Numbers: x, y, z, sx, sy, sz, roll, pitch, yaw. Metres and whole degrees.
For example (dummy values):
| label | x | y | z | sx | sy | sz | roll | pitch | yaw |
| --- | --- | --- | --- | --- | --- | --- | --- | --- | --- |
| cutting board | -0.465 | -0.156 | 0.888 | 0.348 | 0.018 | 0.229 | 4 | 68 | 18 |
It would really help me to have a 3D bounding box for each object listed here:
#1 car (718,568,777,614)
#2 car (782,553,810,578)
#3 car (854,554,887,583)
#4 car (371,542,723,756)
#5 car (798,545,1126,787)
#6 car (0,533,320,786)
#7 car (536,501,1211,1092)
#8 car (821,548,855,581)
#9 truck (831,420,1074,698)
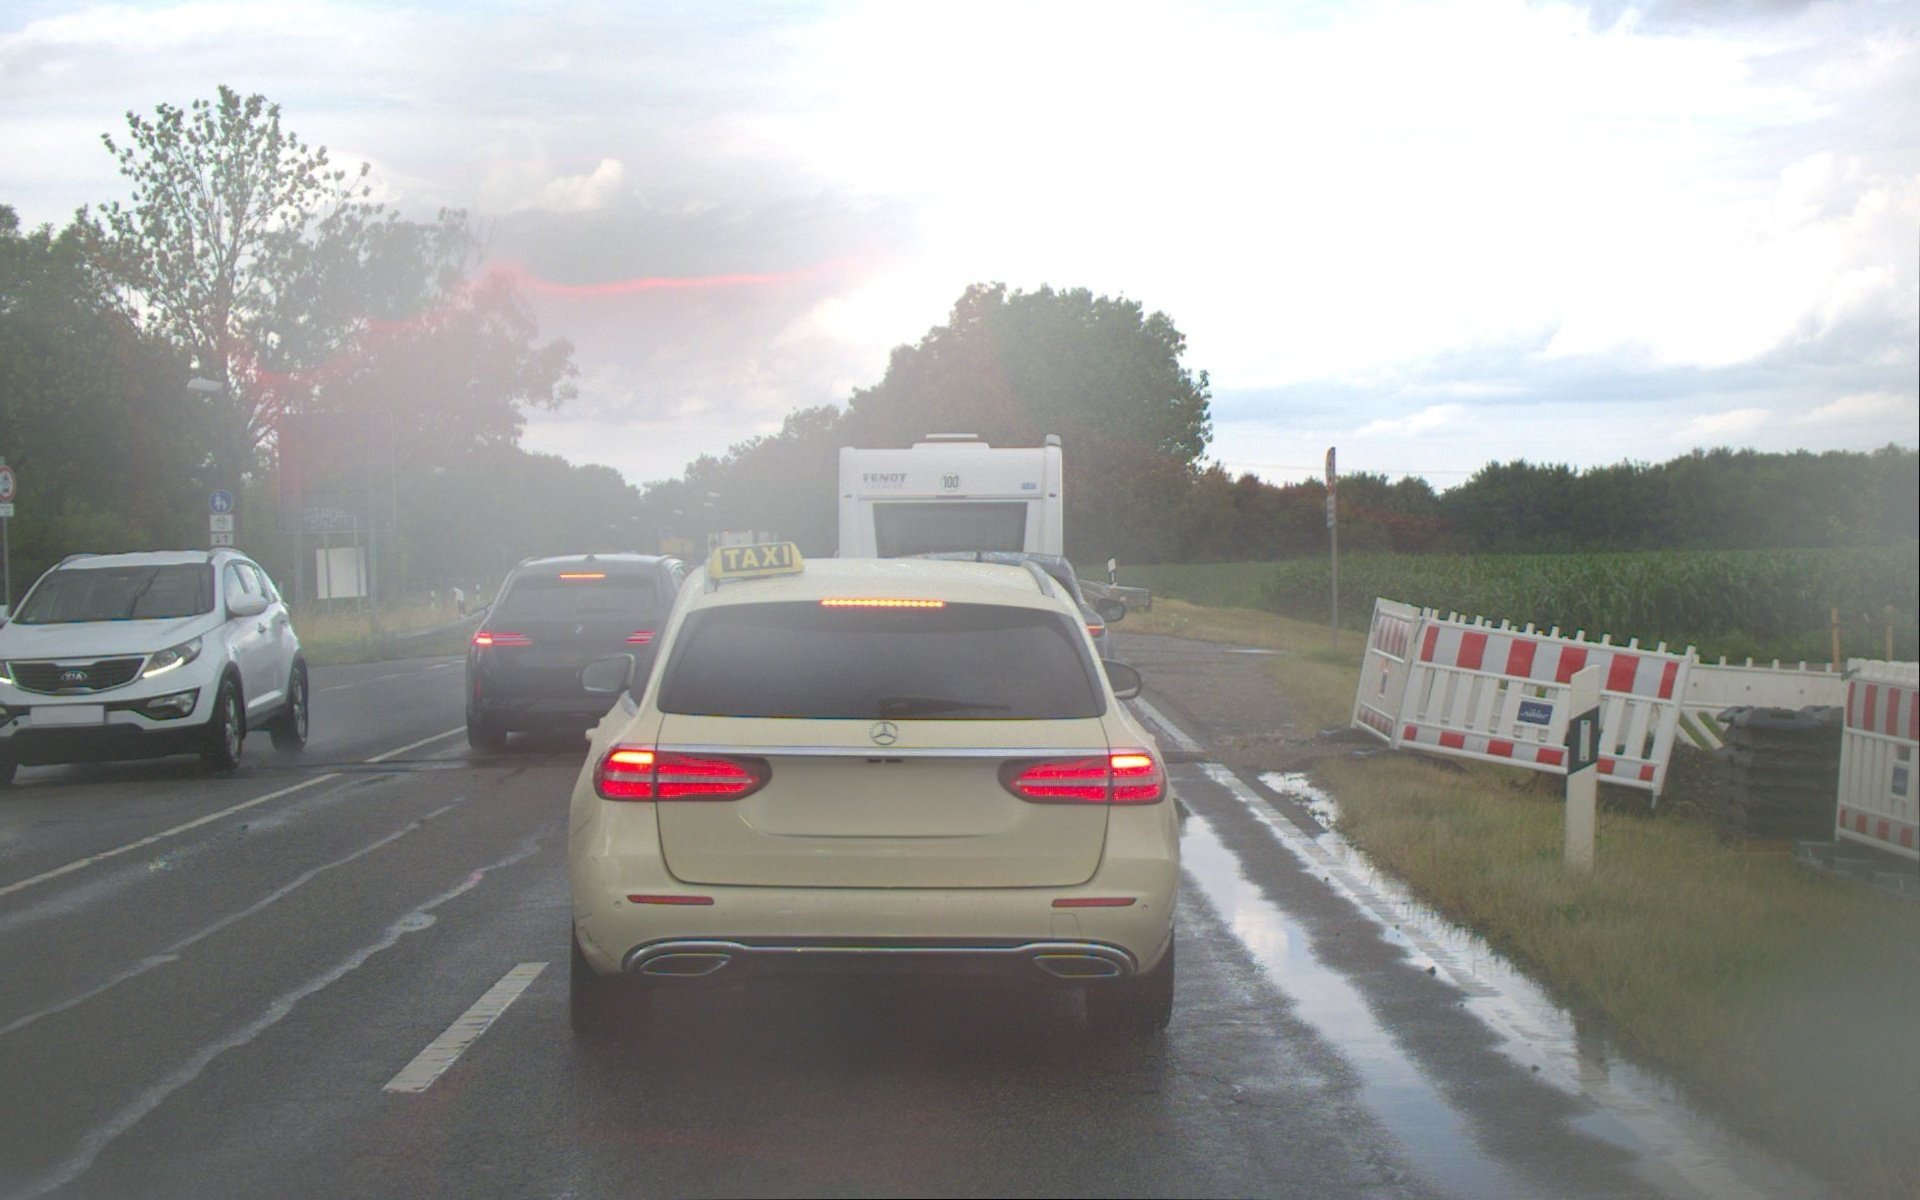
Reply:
| label | x | y | z | sx | sy | sz | roll | pitch | yaw |
| --- | --- | --- | --- | --- | --- | --- | --- | --- | --- |
| car | -7.053 | -0.317 | 114.442 | 1.719 | 1.399 | 4.044 | -3 | 1 | -1 |
| car | -12.218 | -2.582 | 256.884 | 1.895 | 1.833 | 3.882 | -1 | 1 | -1 |
| car | -4.711 | -1.673 | 182.250 | 1.682 | 1.545 | 3.753 | 1 | 1 | -1 |
| car | -3.191 | 0.338 | 27.568 | 2.302 | 1.542 | 4.632 | 1 | 1 | -1 |
| car | -0.010 | 0.387 | 23.026 | 1.993 | 1.457 | 4.000 | 1 | 1 | -1 |
| car | -6.066 | 0.387 | 25.647 | 1.704 | 1.665 | 4.156 | -3 | 1 | 0 |
| car | -0.260 | 0.514 | 11.387 | 1.842 | 1.612 | 4.000 | 0 | 1 | -1 |
| car | -7.424 | -2.154 | 208.442 | 1.895 | 1.888 | 3.844 | -1 | 1 | -4 |
| truck | -0.116 | -0.466 | 37.982 | 2.363 | 2.719 | 7.314 | -1 | 1 | -1 |
